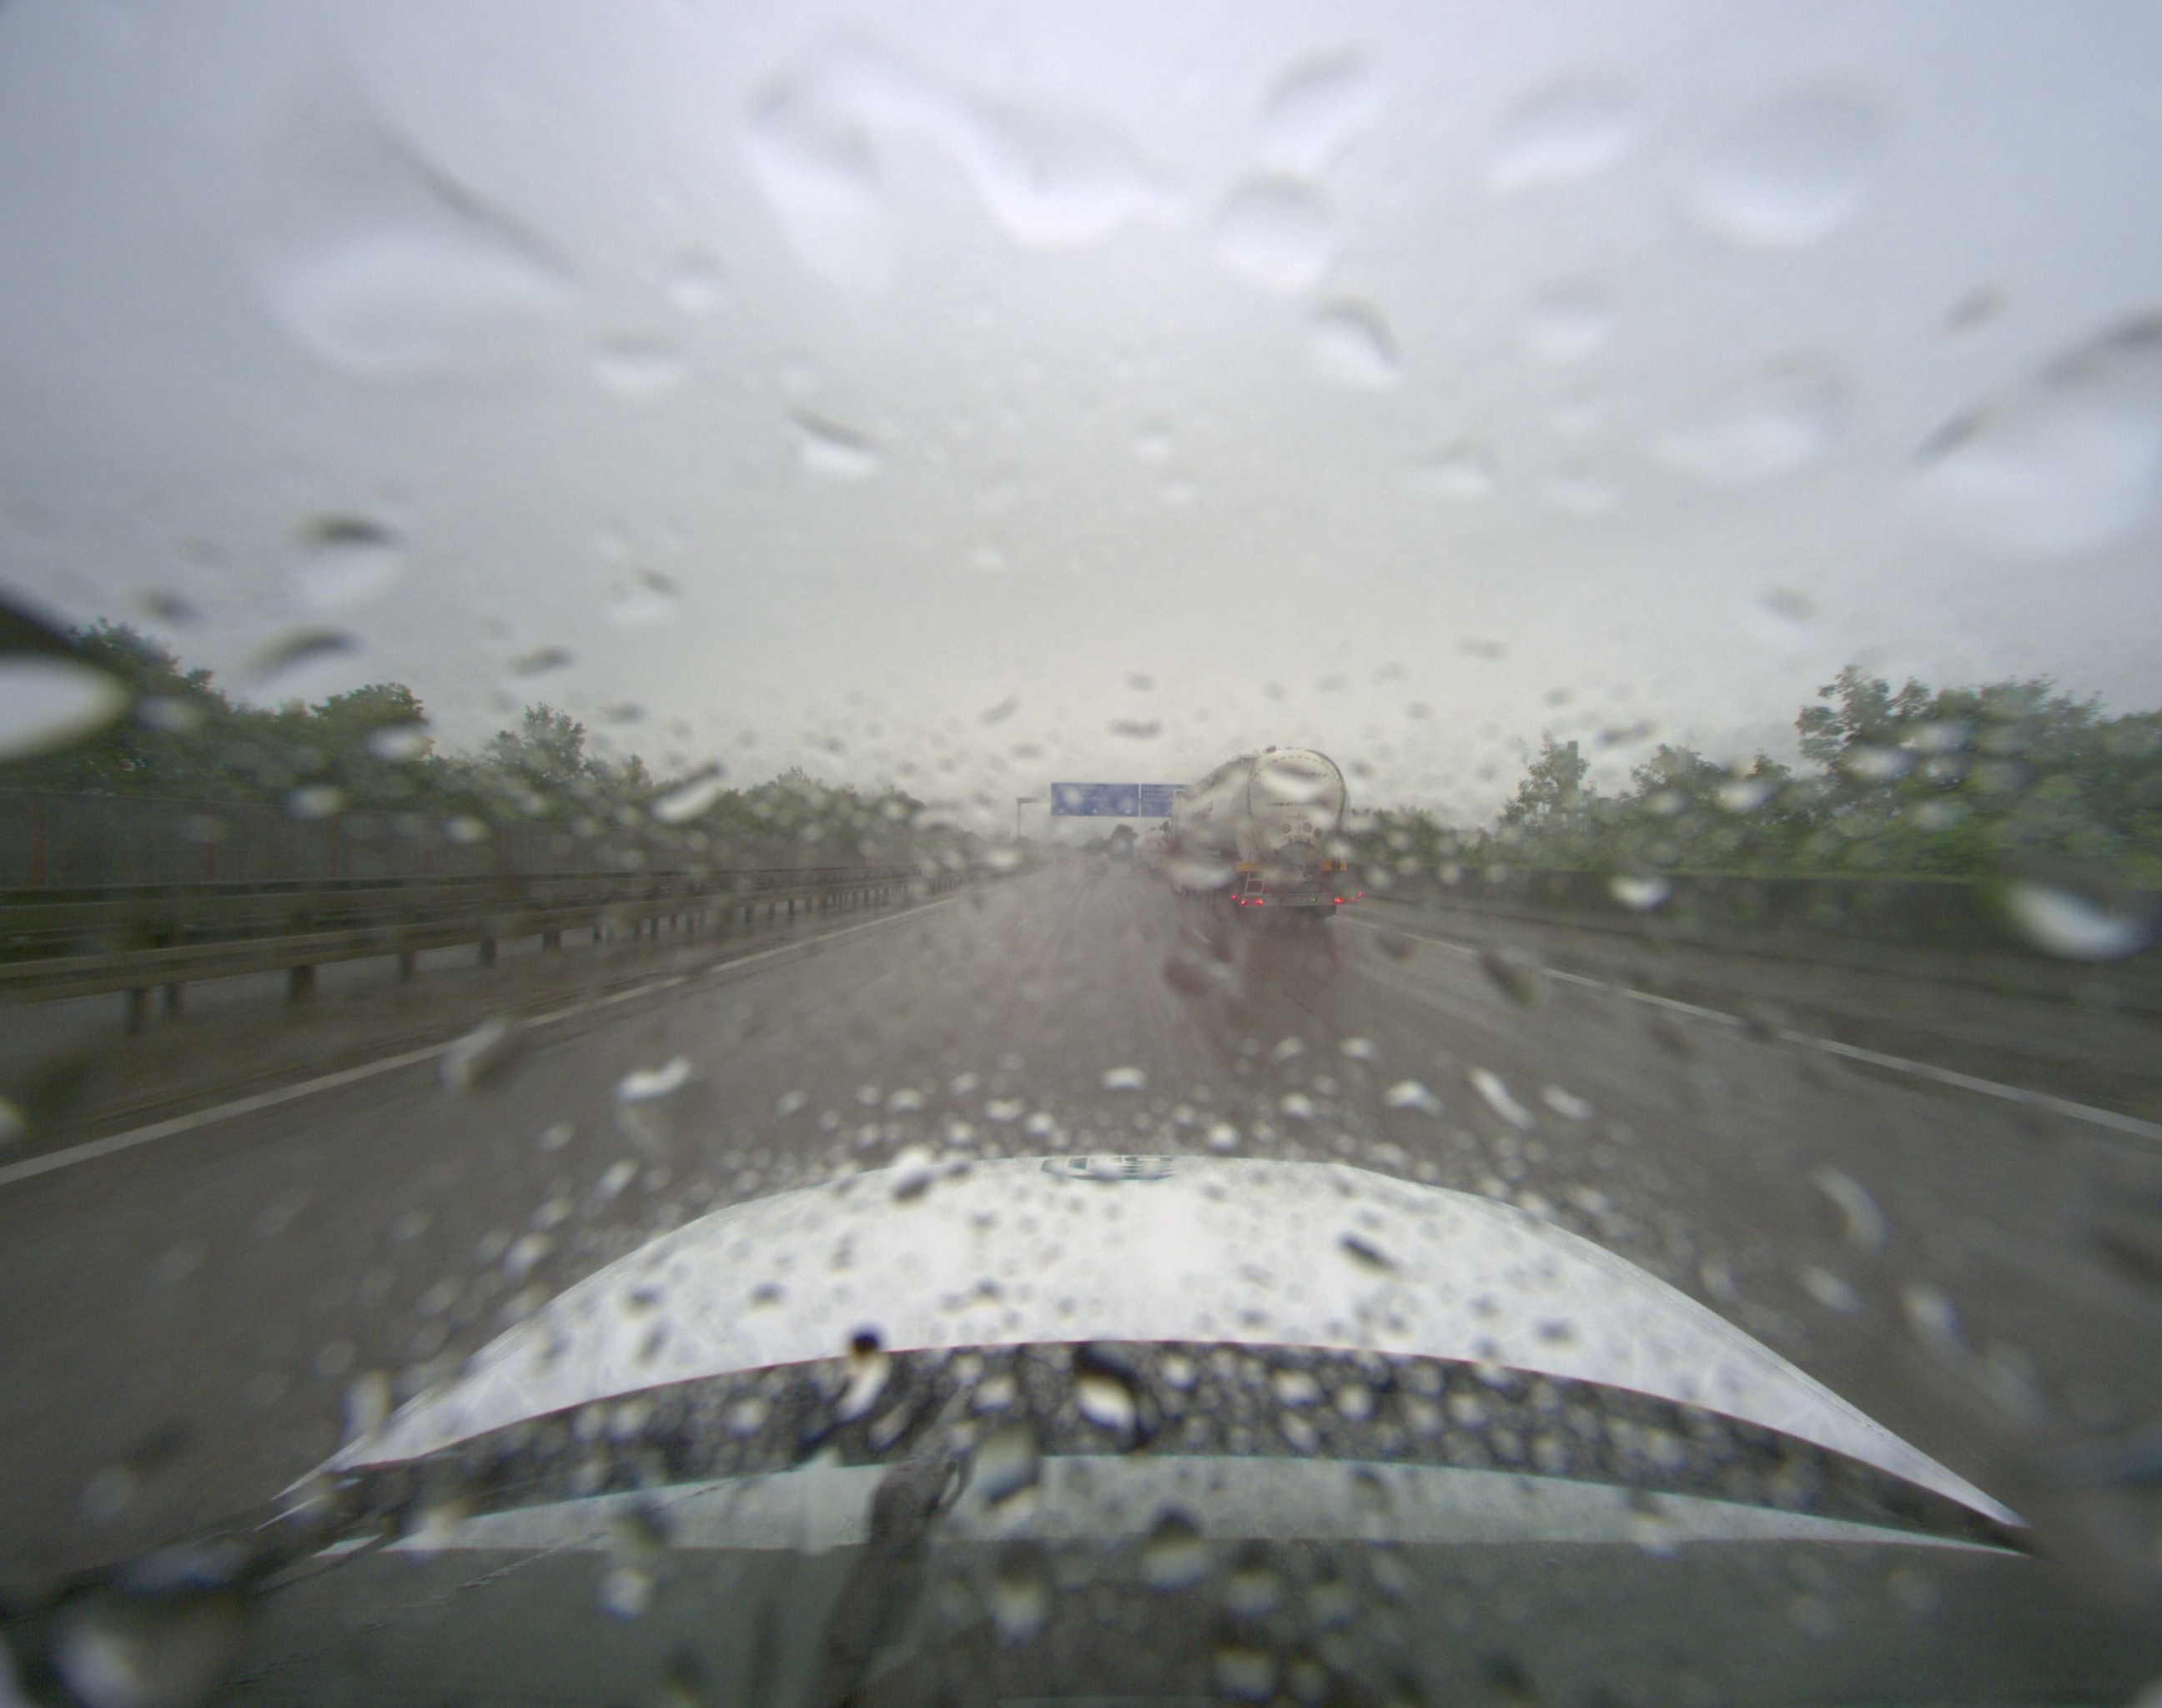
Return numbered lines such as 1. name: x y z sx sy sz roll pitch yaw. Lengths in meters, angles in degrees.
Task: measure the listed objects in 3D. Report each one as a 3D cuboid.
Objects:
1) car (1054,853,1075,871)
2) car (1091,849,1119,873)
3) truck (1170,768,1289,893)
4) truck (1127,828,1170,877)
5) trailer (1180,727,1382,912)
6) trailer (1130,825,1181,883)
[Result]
1. car: -1.661 0.814 83.049 1.917 1.741 4.406 0 0 2
2. car: 1.823 0.510 61.373 1.971 1.756 4.483 -1 0 2
3. truck: 4.916 -0.733 28.498 3.092 3.806 7.216 0 0 2
4. truck: 5.303 -0.127 64.752 2.934 3.684 6.361 0 0 0
5. trailer: 4.684 -0.696 22.070 3.175 3.670 11.675 0 0 3
6. trailer: 5.256 0.009 59.057 2.994 3.848 8.624 0 0 1
